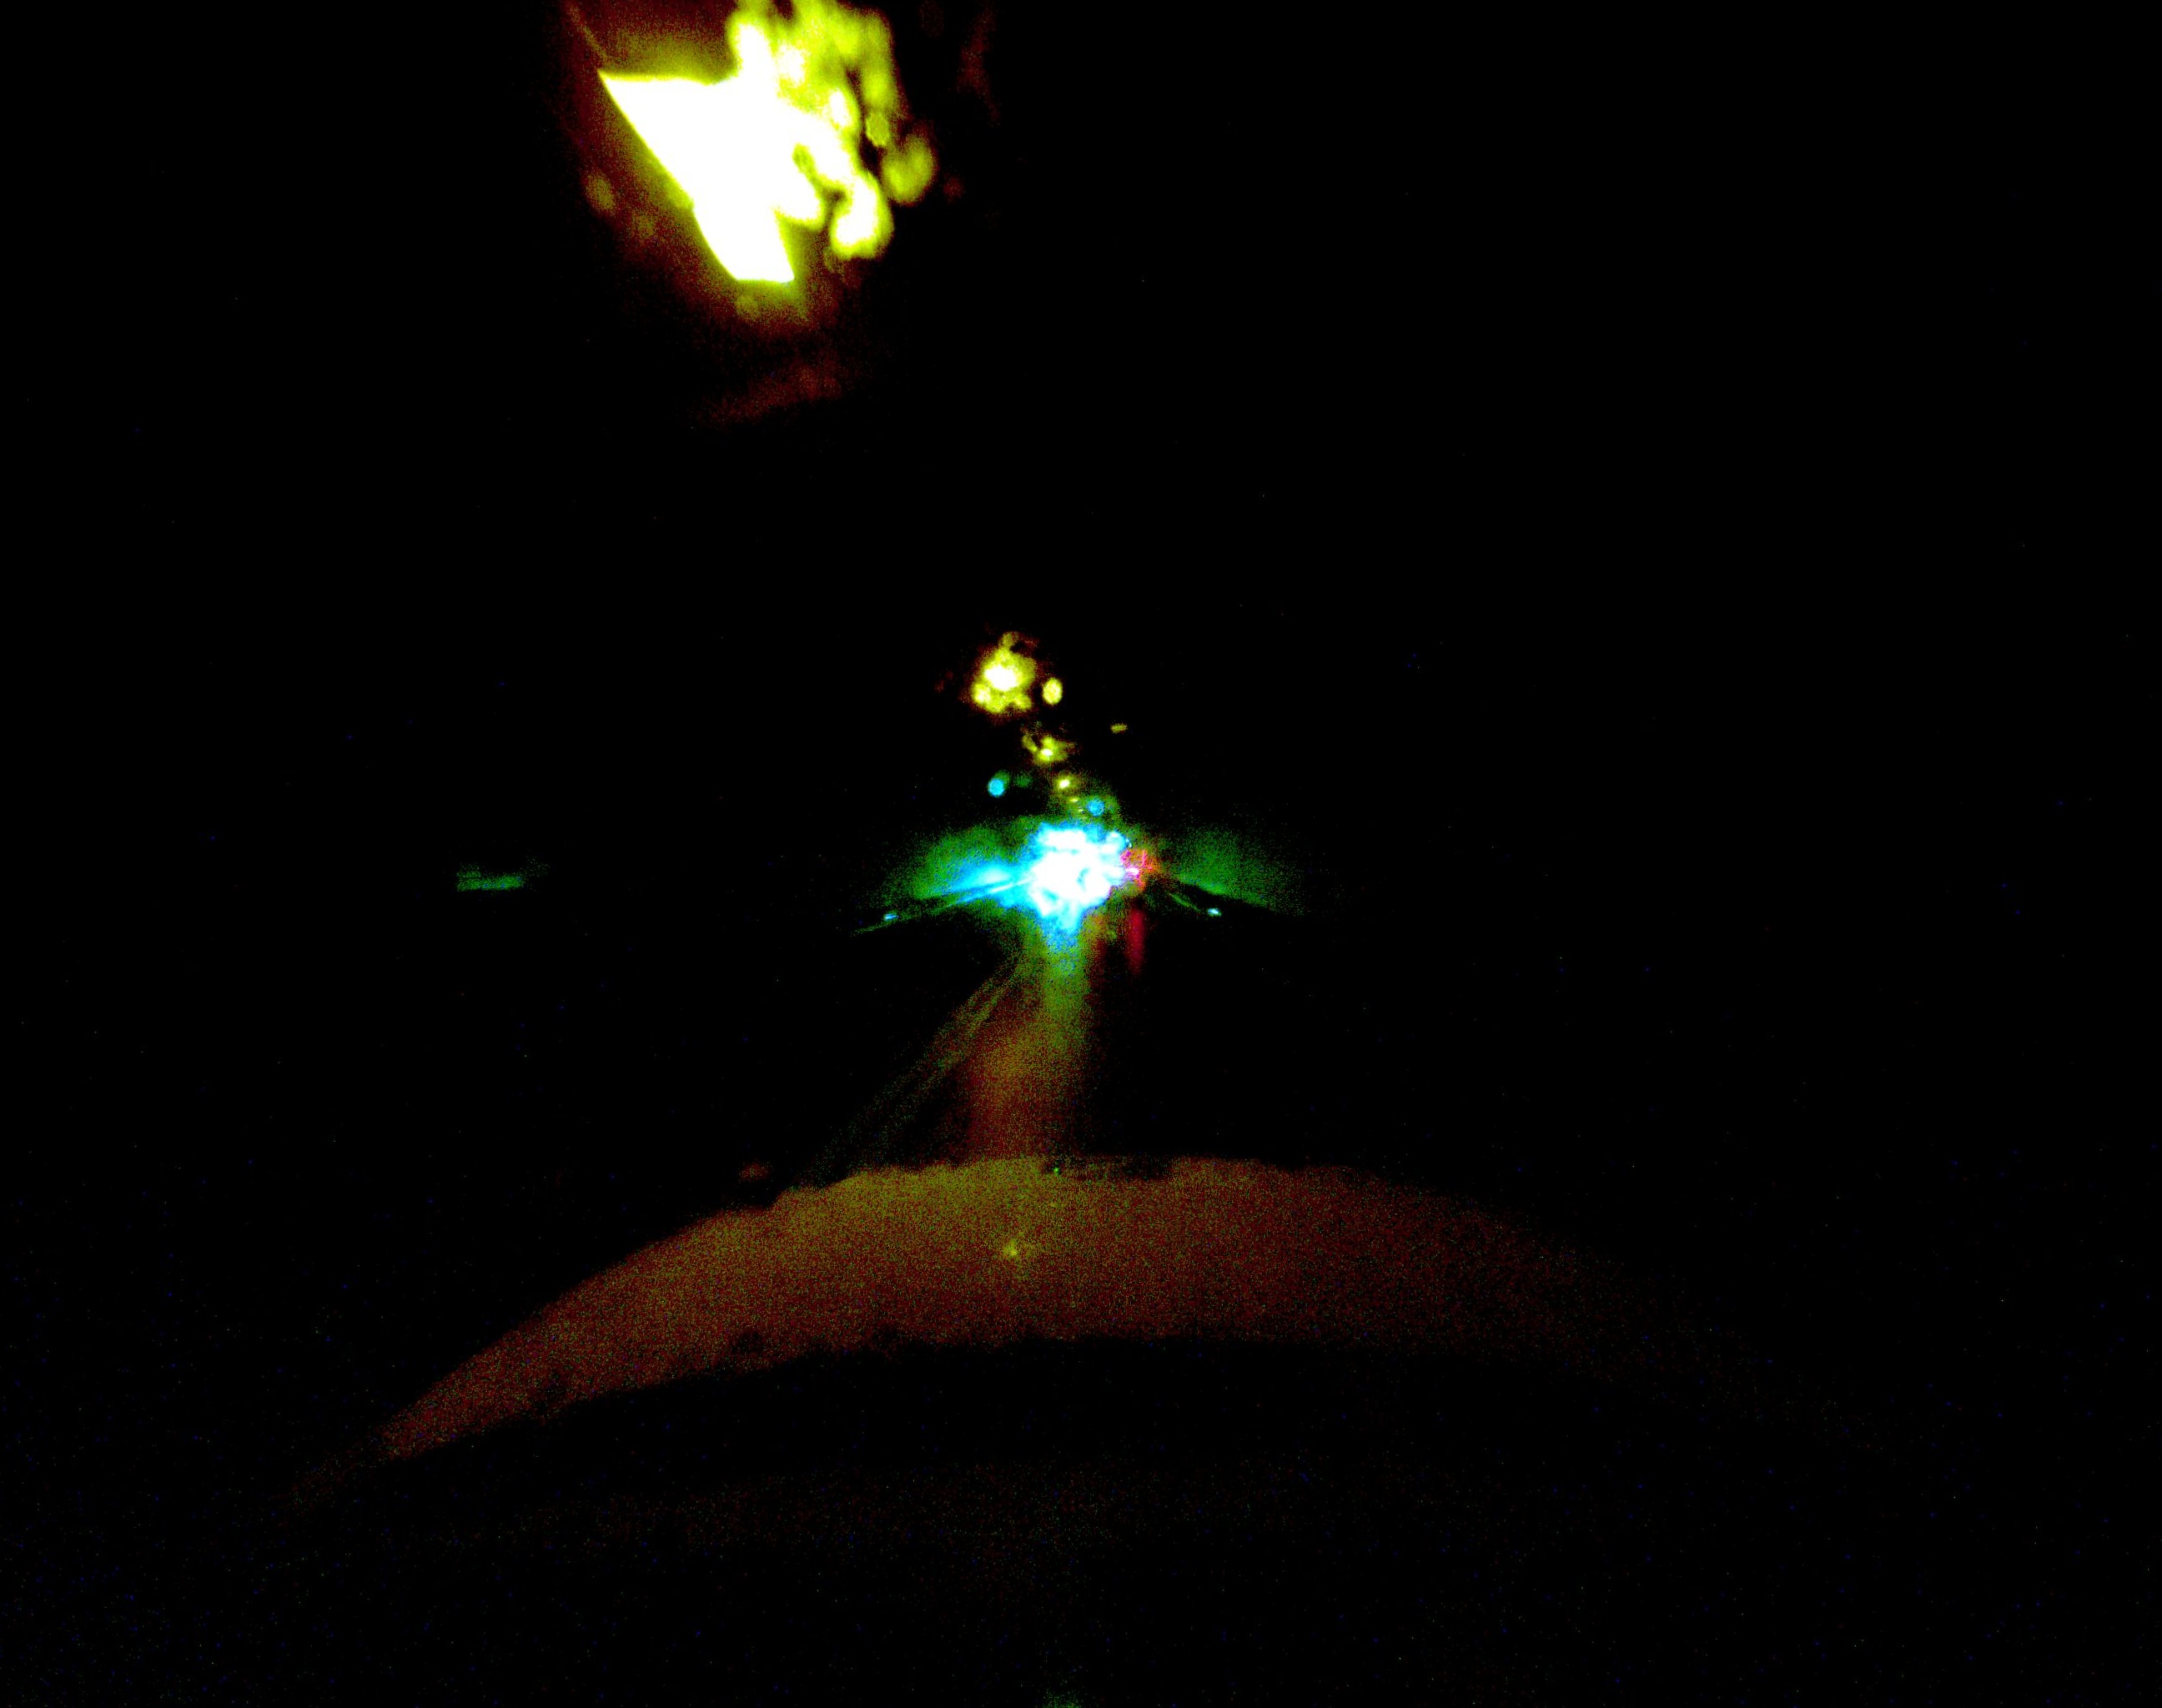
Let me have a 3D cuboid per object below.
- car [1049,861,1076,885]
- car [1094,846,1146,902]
[{"bbox_3d":[-1.360,1.410,61.161,1.628,1.602,4.149,-2,1,3],"label":"car"},{"bbox_3d":[1.373,0.639,28.666,1.628,1.757,4.149,-2,1,3],"label":"car"}]
